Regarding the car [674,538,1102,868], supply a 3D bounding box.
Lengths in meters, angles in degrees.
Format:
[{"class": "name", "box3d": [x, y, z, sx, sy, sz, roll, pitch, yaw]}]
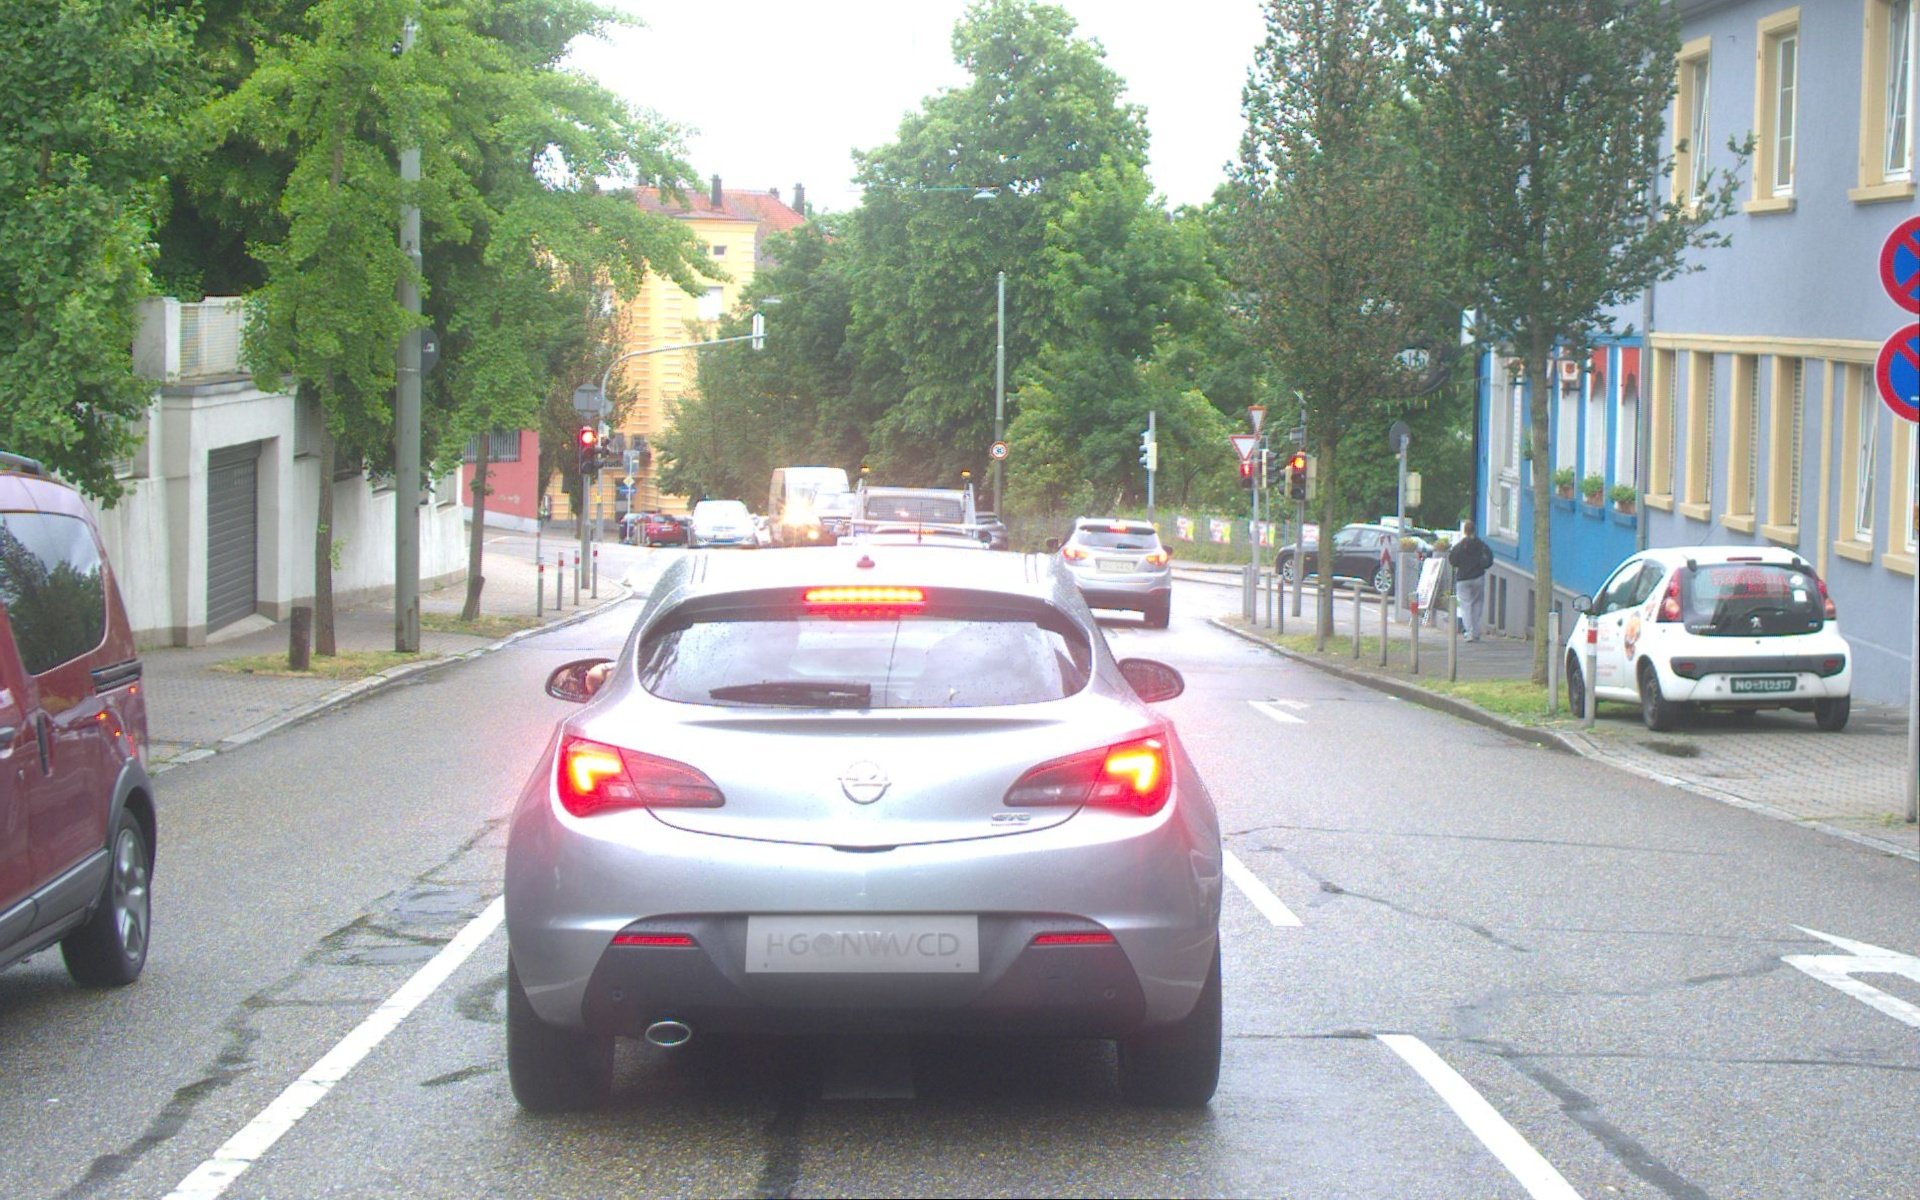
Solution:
[{"class": "car", "box3d": [-0.403, 0.449, 18.346, 1.962, 1.443, 4.306, 2, 1, -2]}]

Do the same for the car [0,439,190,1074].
[{"class": "car", "box3d": [-3.637, 0.453, 10.161, 1.746, 1.822, 4.459, -1, 1, -1]}]

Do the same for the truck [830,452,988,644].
[{"class": "truck", "box3d": [-0.733, -0.736, 47.096, 1.962, 2.420, 4.936, 2, 1, -2]}]

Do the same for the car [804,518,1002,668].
[{"class": "car", "box3d": [-0.644, -0.121, 37.104, 1.962, 1.443, 4.306, 2, 1, -2]}]

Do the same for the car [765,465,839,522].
[{"class": "car", "box3d": [-4.619, -3.084, 100.224, 1.722, 1.632, 3.881, 0, 1, -9]}]

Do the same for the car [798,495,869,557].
[{"class": "car", "box3d": [-3.383, -1.995, 92.604, 1.870, 1.632, 3.880, 0, 1, -2]}]

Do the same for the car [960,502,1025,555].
[{"class": "car", "box3d": [1.013, -2.271, 108.897, 1.722, 1.632, 3.880, 0, 1, -4]}]

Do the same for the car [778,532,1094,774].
[{"class": "car", "box3d": [-0.216, 0.296, 24.067, 1.962, 1.443, 4.306, 2, 1, -2]}]

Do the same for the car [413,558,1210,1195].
[{"class": "car", "box3d": [-0.427, 0.627, 9.970, 1.837, 1.429, 3.880, 1, 1, -2]}]

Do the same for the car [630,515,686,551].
[{"class": "car", "box3d": [-13.911, -3.107, 158.102, 1.722, 1.632, 3.881, 0, 1, -18]}]

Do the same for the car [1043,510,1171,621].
[{"class": "car", "box3d": [2.322, -0.580, 55.131, 1.722, 1.708, 3.880, 0, 1, -2]}]

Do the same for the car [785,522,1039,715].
[{"class": "car", "box3d": [-0.447, 0.097, 29.445, 1.962, 1.443, 4.306, 2, 1, -2]}]

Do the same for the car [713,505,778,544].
[{"class": "car", "box3d": [-8.704, -3.065, 139.332, 1.722, 1.538, 3.881, 0, 1, -18]}]

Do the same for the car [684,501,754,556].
[{"class": "car", "box3d": [-6.477, -1.936, 92.585, 1.722, 1.455, 3.880, 0, 1, -2]}]

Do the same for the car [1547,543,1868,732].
[{"class": "car", "box3d": [6.154, 0.262, 28.706, 1.722, 1.443, 3.880, 0, 1, -2]}]

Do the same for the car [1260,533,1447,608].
[{"class": "car", "box3d": [8.927, -0.688, 78.007, 3.872, 1.632, 1.726, 1, 1, 26]}]

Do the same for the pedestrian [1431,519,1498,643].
[{"class": "pedestrian", "box3d": [7.143, -0.277, 48.708, 0.783, 1.723, 0.651, 2, 1, 0]}]
